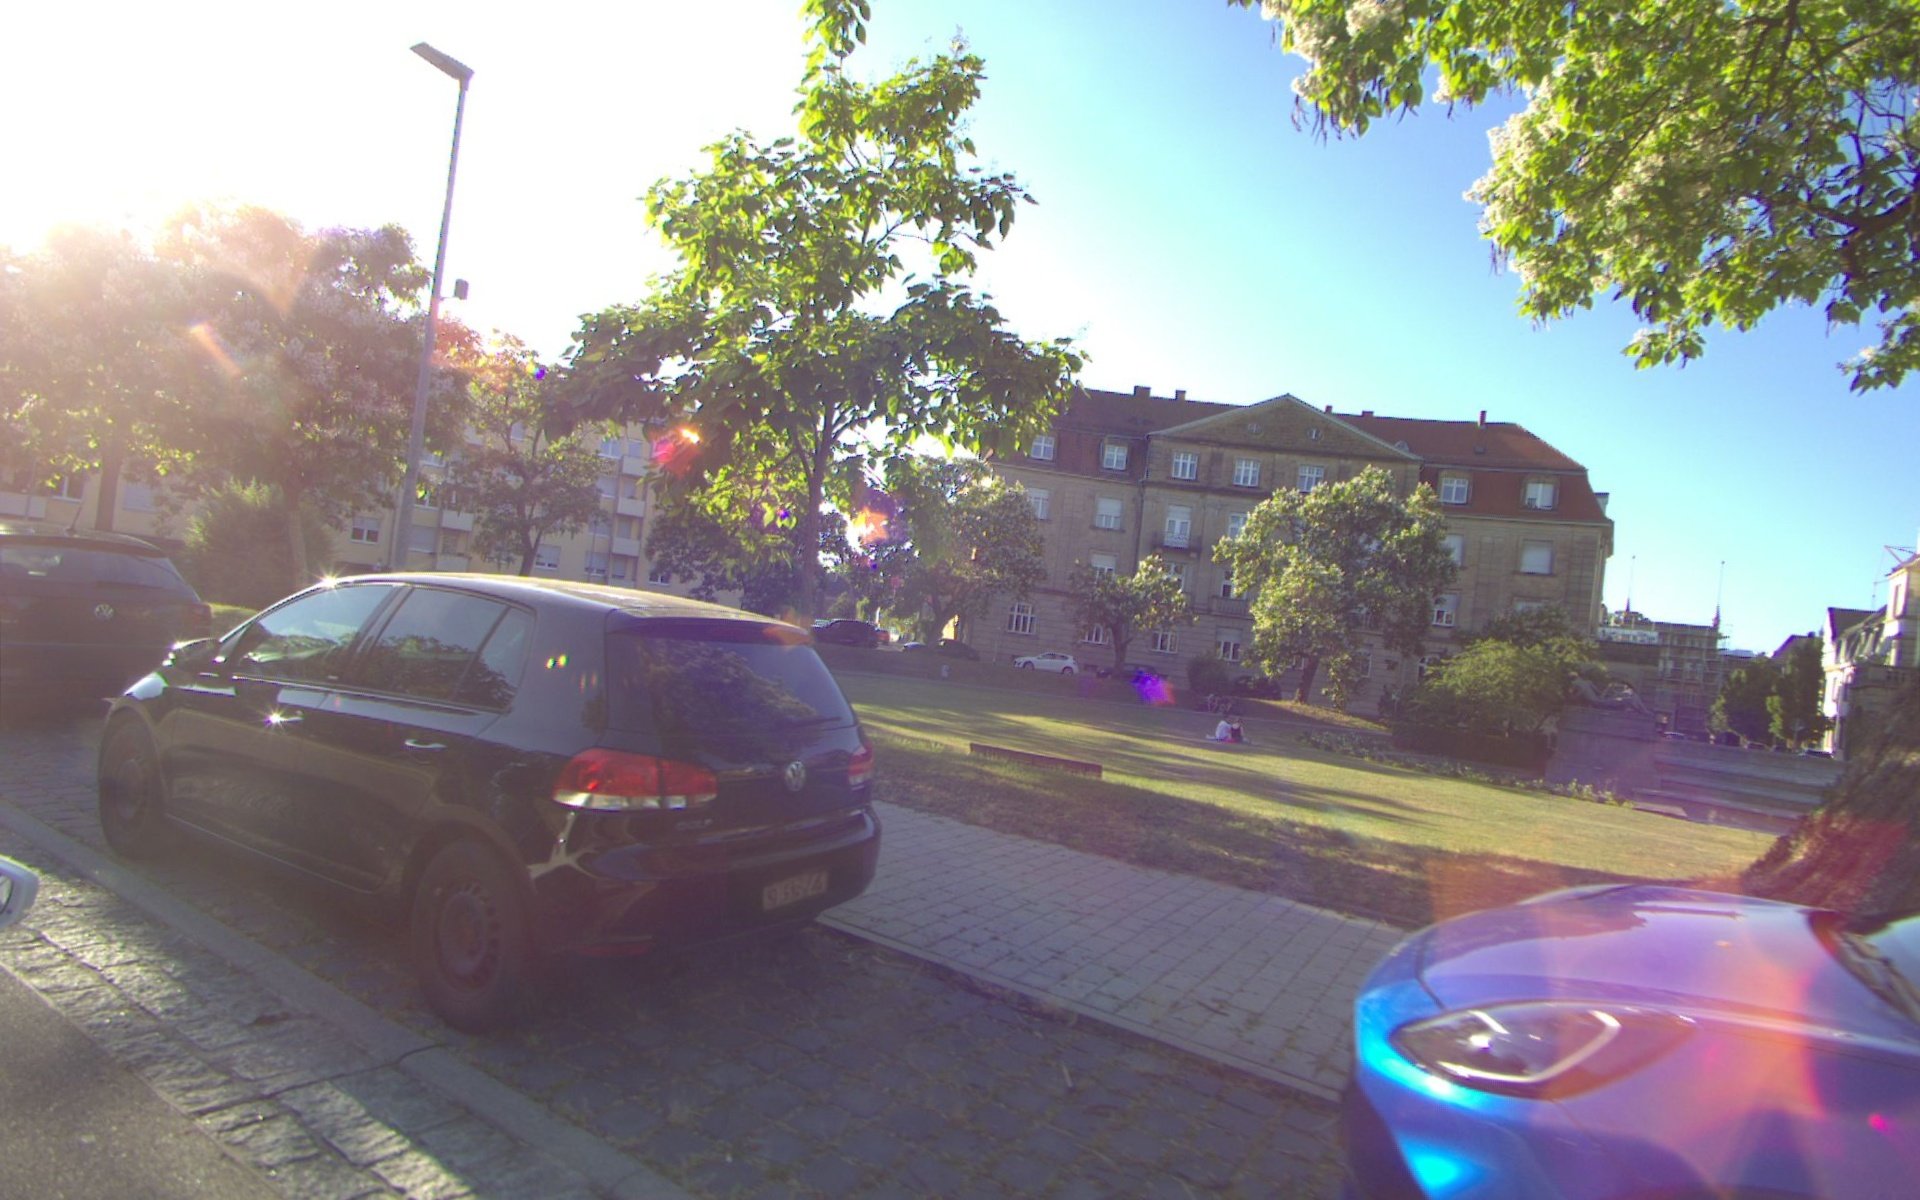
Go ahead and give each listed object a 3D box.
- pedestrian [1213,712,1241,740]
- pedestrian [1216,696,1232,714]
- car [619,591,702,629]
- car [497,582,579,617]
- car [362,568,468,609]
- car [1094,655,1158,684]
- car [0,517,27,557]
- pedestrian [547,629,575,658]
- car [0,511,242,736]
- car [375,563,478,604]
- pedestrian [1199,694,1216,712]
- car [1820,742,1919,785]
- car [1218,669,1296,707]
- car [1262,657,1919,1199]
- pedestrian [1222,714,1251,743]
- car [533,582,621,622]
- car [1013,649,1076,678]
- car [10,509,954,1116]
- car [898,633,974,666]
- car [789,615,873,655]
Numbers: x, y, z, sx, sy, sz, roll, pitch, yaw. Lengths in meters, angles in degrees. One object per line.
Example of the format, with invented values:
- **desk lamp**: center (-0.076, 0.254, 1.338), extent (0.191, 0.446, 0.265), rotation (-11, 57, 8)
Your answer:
- **pedestrian**: center (8.748, 4.133, 32.949), extent (0.577, 0.803, 0.666), rotation (7, -1, -11)
- **pedestrian**: center (13.097, 5.227, 49.905), extent (0.655, 0.803, 0.587), rotation (6, -1, 21)
- **car**: center (-18.021, 0.608, 60.470), extent (4.468, 1.766, 1.871), rotation (8, -2, -24)
- **car**: center (-23.905, -0.047, 57.000), extent (3.957, 1.470, 1.867), rotation (8, -2, -30)
- **car**: center (-26.180, -0.543, 48.356), extent (4.176, 1.373, 1.676), rotation (8, -2, -38)
- **car**: center (10.977, 4.600, 66.732), extent (3.924, 1.470, 1.883), rotation (7, -2, 6)
- **car**: center (-41.271, -2.867, 41.107), extent (1.969, 1.548, 4.198), rotation (5, -3, 36)
- **pedestrian**: center (-12.629, 1.381, 31.857), extent (0.602, 0.822, 0.473), rotation (6, -2, 33)
- **car**: center (-7.880, 0.036, 8.115), extent (4.176, 1.481, 1.630), rotation (6, -2, 29)
- **car**: center (-28.673, -0.866, 54.135), extent (4.493, 1.587, 1.860), rotation (9, -3, -40)
- **pedestrian**: center (12.349, 5.127, 50.158), extent (0.655, 0.803, 0.587), rotation (6, -1, 21)
- **car**: center (44.606, 7.930, 48.282), extent (4.878, 1.434, 1.813), rotation (5, -2, 39)
- **car**: center (17.721, 5.258, 60.154), extent (3.925, 1.724, 2.003), rotation (8, -3, 4)
- **car**: center (2.805, 1.133, 1.481), extent (4.206, 1.569, 1.734), rotation (5, -2, 33)
- **pedestrian**: center (8.859, 4.119, 32.273), extent (0.577, 0.803, 0.666), rotation (7, -1, -11)
- **car**: center (-19.945, 0.100, 52.476), extent (3.959, 1.570, 1.598), rotation (8, -2, -31)
- **car**: center (5.586, 4.205, 66.691), extent (3.925, 1.470, 1.882), rotation (7, -2, 1)
- **car**: center (-2.401, 0.578, 4.705), extent (4.348, 1.569, 1.735), rotation (5, -2, 31)
- **car**: center (-1.461, 2.923, 59.862), extent (4.291, 1.470, 1.880), rotation (7, -2, -6)
- **car**: center (-7.441, 2.030, 58.029), extent (4.456, 1.766, 1.876), rotation (7, -2, -15)
